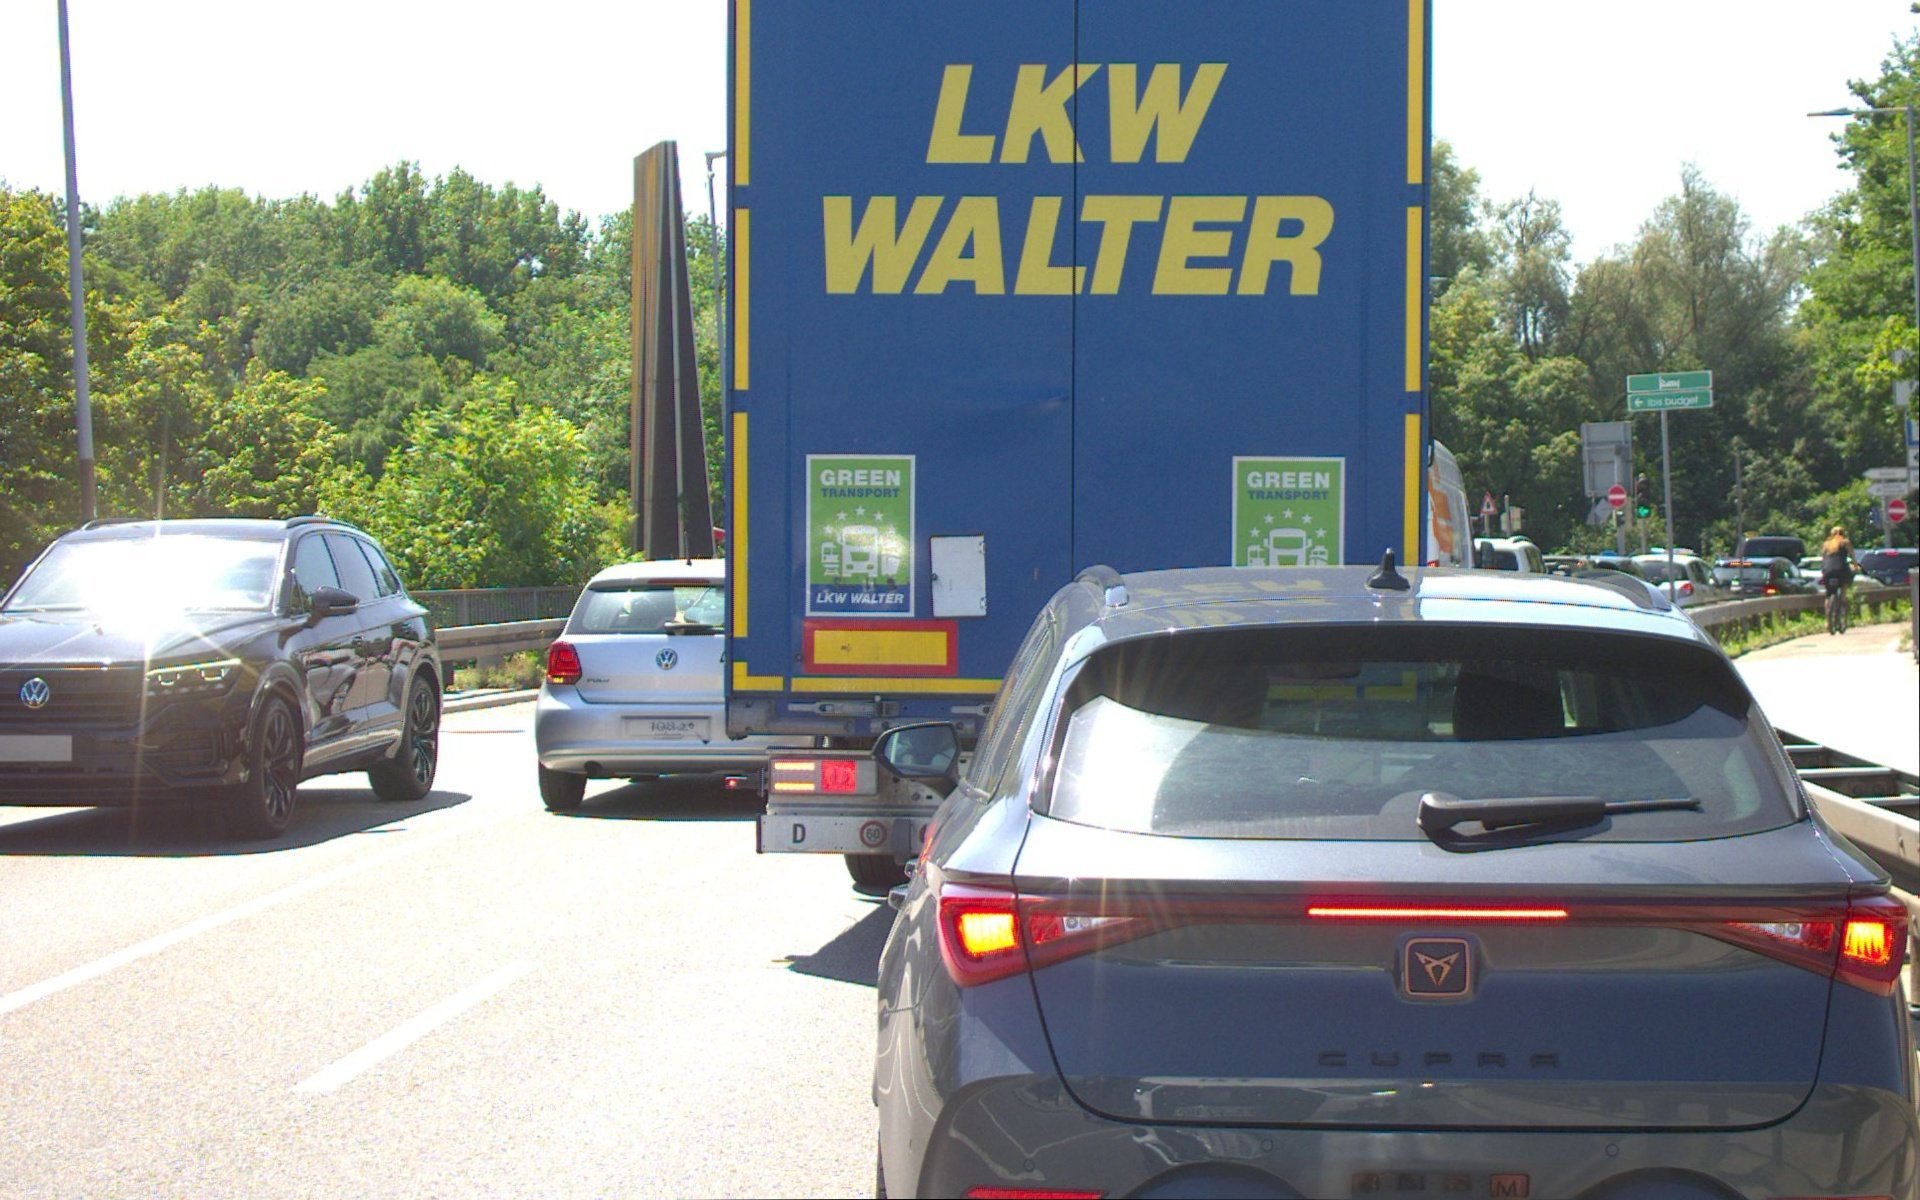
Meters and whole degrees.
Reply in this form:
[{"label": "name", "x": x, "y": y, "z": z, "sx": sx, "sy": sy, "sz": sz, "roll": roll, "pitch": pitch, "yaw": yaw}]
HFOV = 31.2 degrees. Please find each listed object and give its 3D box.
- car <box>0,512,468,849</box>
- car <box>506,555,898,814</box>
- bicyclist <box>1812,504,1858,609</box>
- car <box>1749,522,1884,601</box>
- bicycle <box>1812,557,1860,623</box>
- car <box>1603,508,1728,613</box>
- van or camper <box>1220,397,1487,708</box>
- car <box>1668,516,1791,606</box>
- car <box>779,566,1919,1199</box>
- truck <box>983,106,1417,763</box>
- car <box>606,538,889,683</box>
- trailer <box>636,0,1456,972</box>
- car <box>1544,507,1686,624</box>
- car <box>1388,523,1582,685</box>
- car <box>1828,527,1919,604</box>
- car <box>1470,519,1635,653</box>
[{"label": "car", "x": -4.320, "y": 0.366, "z": 19.403, "sx": 1.966, "sy": 1.667, "sz": 4.613, "roll": -1, "pitch": 1, "yaw": 6}, {"label": "car", "x": -1.480, "y": 0.446, "z": 21.163, "sx": 1.677, "sy": 1.406, "sz": 3.974, "roll": 0, "pitch": 1, "yaw": 7}, {"label": "bicyclist", "x": 14.242, "y": -0.705, "z": 55.975, "sx": 0.578, "sy": 1.677, "sz": 0.729, "roll": -3, "pitch": 0, "yaw": 10}, {"label": "car", "x": 18.753, "y": -0.833, "z": 75.185, "sx": 1.996, "sy": 1.570, "sz": 3.994, "roll": 2, "pitch": 0, "yaw": 26}, {"label": "bicycle", "x": 14.276, "y": -0.167, "z": 56.030, "sx": 0.582, "sy": 1.032, "sz": 1.484, "roll": -3, "pitch": 0, "yaw": 10}, {"label": "car", "x": 12.802, "y": -0.733, "z": 62.258, "sx": 1.722, "sy": 1.837, "sz": 3.996, "roll": 0, "pitch": 1, "yaw": 19}, {"label": "van or camper", "x": 4.048, "y": -0.493, "z": 34.411, "sx": 2.155, "sy": 2.806, "sz": 6.384, "roll": 0, "pitch": 1, "yaw": 11}, {"label": "car", "x": 15.447, "y": -0.775, "z": 68.916, "sx": 1.687, "sy": 1.754, "sz": 3.995, "roll": 0, "pitch": 0, "yaw": 23}, {"label": "car", "x": 0.686, "y": 0.673, "z": 6.764, "sx": 1.677, "sy": 1.451, "sz": 3.958, "roll": 0, "pitch": 1, "yaw": 3}, {"label": "truck", "x": 2.028, "y": -1.180, "z": 26.476, "sx": 2.905, "sy": 4.403, "sz": 6.554, "roll": 0, "pitch": 1, "yaw": 7}, {"label": "car", "x": -2.205, "y": 0.064, "z": 37.031, "sx": 1.711, "sy": 1.464, "sz": 4.457, "roll": 0, "pitch": 1, "yaw": 15}, {"label": "trailer", "x": 1.023, "y": -1.029, "z": 18.345, "sx": 2.905, "sy": 4.403, "sz": 12.430, "roll": 0, "pitch": 1, "yaw": 7}, {"label": "car", "x": 10.761, "y": -0.592, "z": 56.304, "sx": 1.722, "sy": 1.837, "sz": 3.996, "roll": 0, "pitch": 1, "yaw": 19}, {"label": "car", "x": 6.416, "y": 0.000, "z": 41.699, "sx": 1.722, "sy": 1.837, "sz": 3.997, "roll": 0, "pitch": 2, "yaw": 18}, {"label": "car", "x": 21.829, "y": -0.801, "z": 81.100, "sx": 1.688, "sy": 1.754, "sz": 3.994, "roll": 0, "pitch": 0, "yaw": 29}, {"label": "car", "x": 8.350, "y": -0.233, "z": 48.215, "sx": 1.722, "sy": 1.796, "sz": 3.997, "roll": 0, "pitch": 1, "yaw": 18}]
